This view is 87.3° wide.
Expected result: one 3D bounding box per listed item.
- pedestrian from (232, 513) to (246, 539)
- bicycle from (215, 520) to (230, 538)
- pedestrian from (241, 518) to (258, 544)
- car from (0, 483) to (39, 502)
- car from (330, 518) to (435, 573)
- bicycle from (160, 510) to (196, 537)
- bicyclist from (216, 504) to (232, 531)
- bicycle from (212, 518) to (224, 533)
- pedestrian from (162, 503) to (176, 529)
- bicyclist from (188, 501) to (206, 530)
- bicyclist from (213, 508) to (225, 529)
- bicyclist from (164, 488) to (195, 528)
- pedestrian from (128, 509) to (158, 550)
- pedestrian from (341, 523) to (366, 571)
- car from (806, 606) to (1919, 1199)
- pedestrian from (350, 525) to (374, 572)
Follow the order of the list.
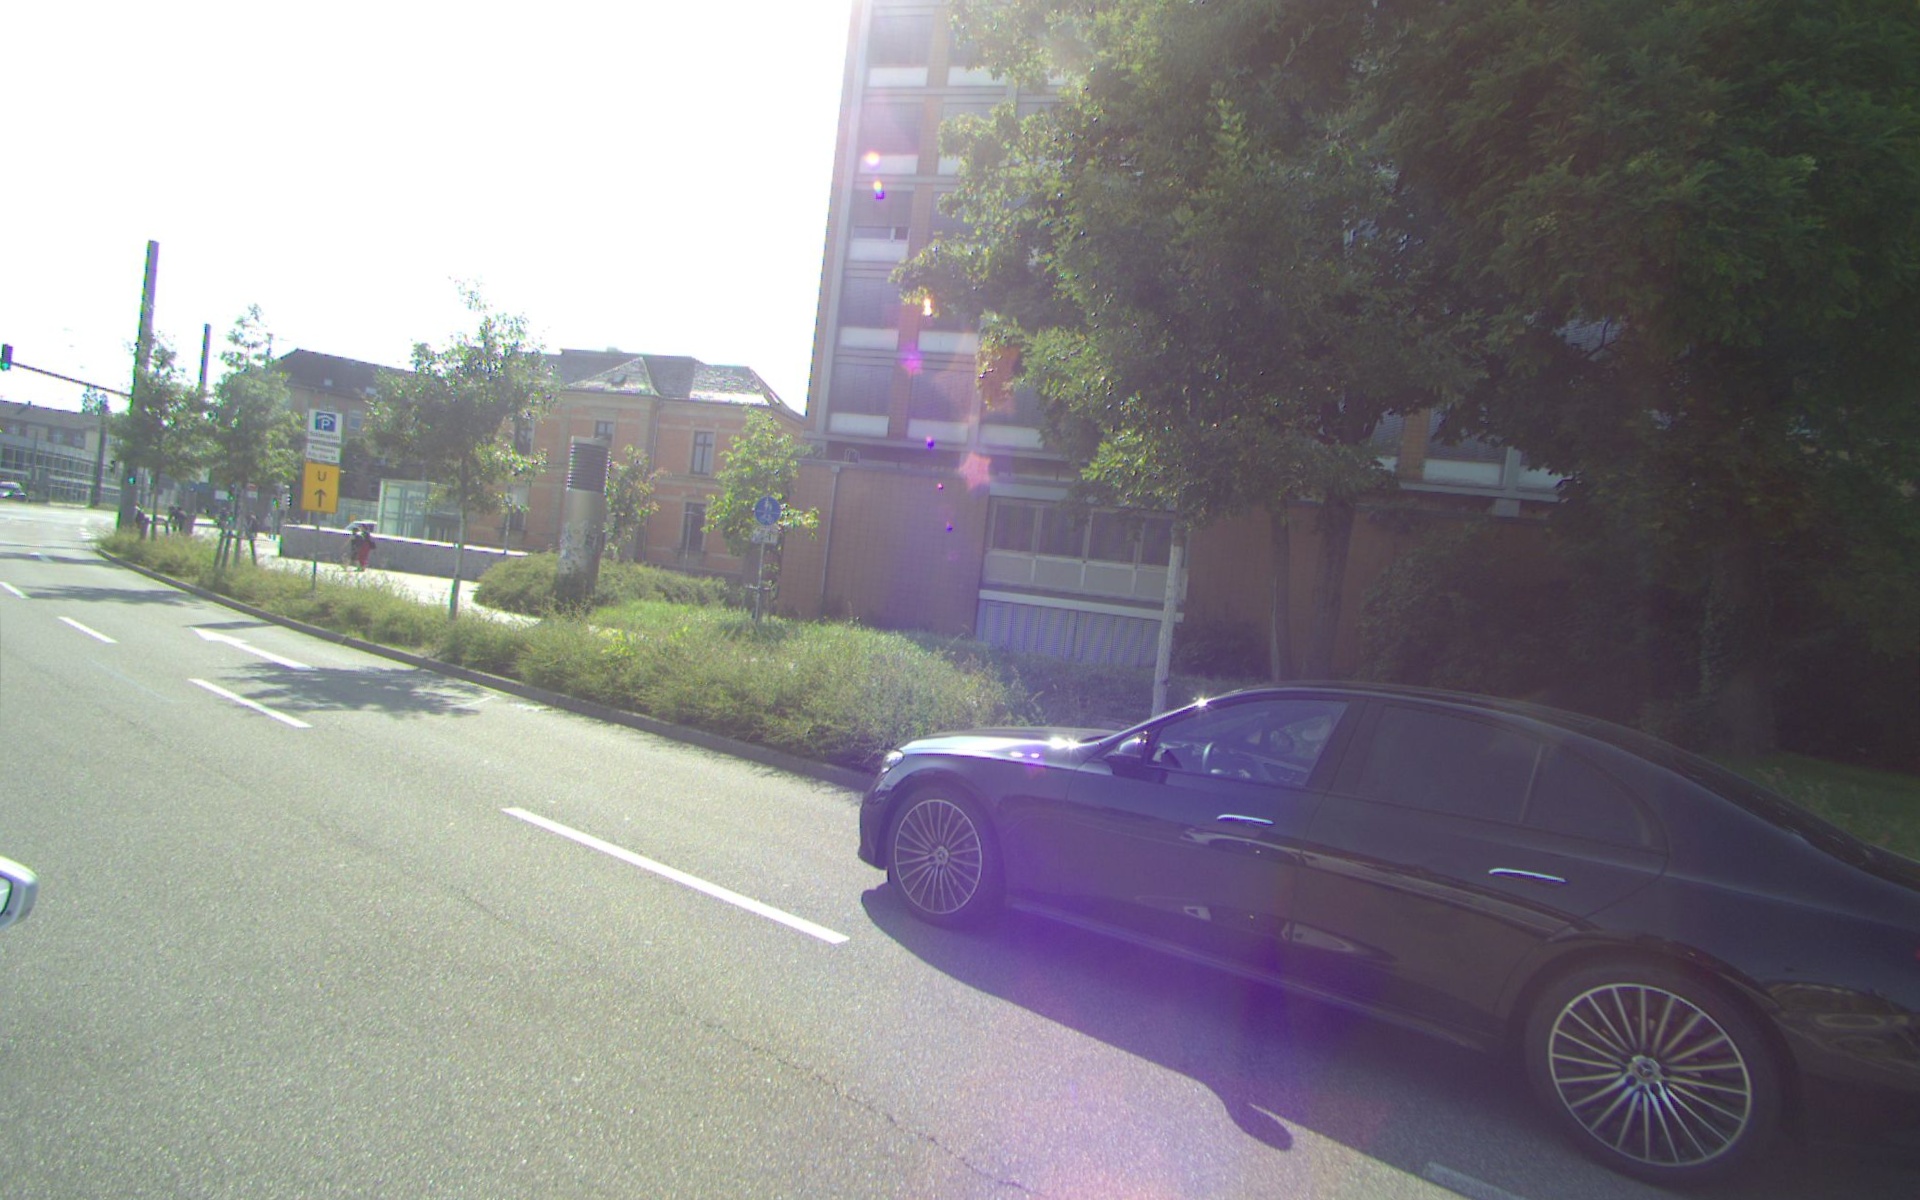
[{"bbox_3d":[-59.779,-6.103,83.393,0.742,2.039,0.799,6,1,-36],"label":"pedestrian"},{"bbox_3d":[-52.020,-5.037,70.977,0.742,1.163,2.839,6,0,-35],"label":"bicycle"},{"bbox_3d":[-45.858,-4.449,64.932,0.742,1.549,0.799,6,1,-36],"label":"pedestrian"},{"bbox_3d":[-95.092,-10.815,100.982,1.967,1.460,3.991,7,0,-11],"label":"car"},{"bbox_3d":[-27.555,-2.576,48.134,1.721,2.038,3.998,10,1,22],"label":"car"},{"bbox_3d":[-34.317,-3.362,44.132,2.119,0.988,0.771,6,0,40],"label":"bicycle"},{"bbox_3d":[-51.918,-5.804,70.964,0.742,1.808,1.102,6,1,-36],"label":"bicyclist"},{"bbox_3d":[-67.435,-6.778,91.452,0.735,1.233,2.224,6,1,-35],"label":"bicycle"},{"bbox_3d":[-63.893,-6.772,81.271,0.742,2.039,0.799,6,1,-36],"label":"pedestrian"},{"bbox_3d":[-44.492,-4.915,58.671,0.708,1.549,0.799,6,1,-36],"label":"bicyclist"},{"bbox_3d":[-67.352,-7.399,91.407,0.742,1.852,0.799,6,1,-36],"label":"bicyclist"},{"bbox_3d":[-34.251,-4.039,44.129,0.976,1.598,0.771,7,0,40],"label":"bicyclist"},{"bbox_3d":[-30.109,-2.595,37.061,0.624,1.379,0.635,7,1,37],"label":"pedestrian"},{"bbox_3d":[-21.913,-1.907,36.377,0.609,1.659,0.530,6,1,-29],"label":"pedestrian"},{"bbox_3d":[1.698,1.058,4.741,4.798,1.457,1.821,6,-1,36],"label":"car"},{"bbox_3d":[-22.017,-1.900,37.051,0.609,1.649,0.530,6,1,-29],"label":"pedestrian"}]
